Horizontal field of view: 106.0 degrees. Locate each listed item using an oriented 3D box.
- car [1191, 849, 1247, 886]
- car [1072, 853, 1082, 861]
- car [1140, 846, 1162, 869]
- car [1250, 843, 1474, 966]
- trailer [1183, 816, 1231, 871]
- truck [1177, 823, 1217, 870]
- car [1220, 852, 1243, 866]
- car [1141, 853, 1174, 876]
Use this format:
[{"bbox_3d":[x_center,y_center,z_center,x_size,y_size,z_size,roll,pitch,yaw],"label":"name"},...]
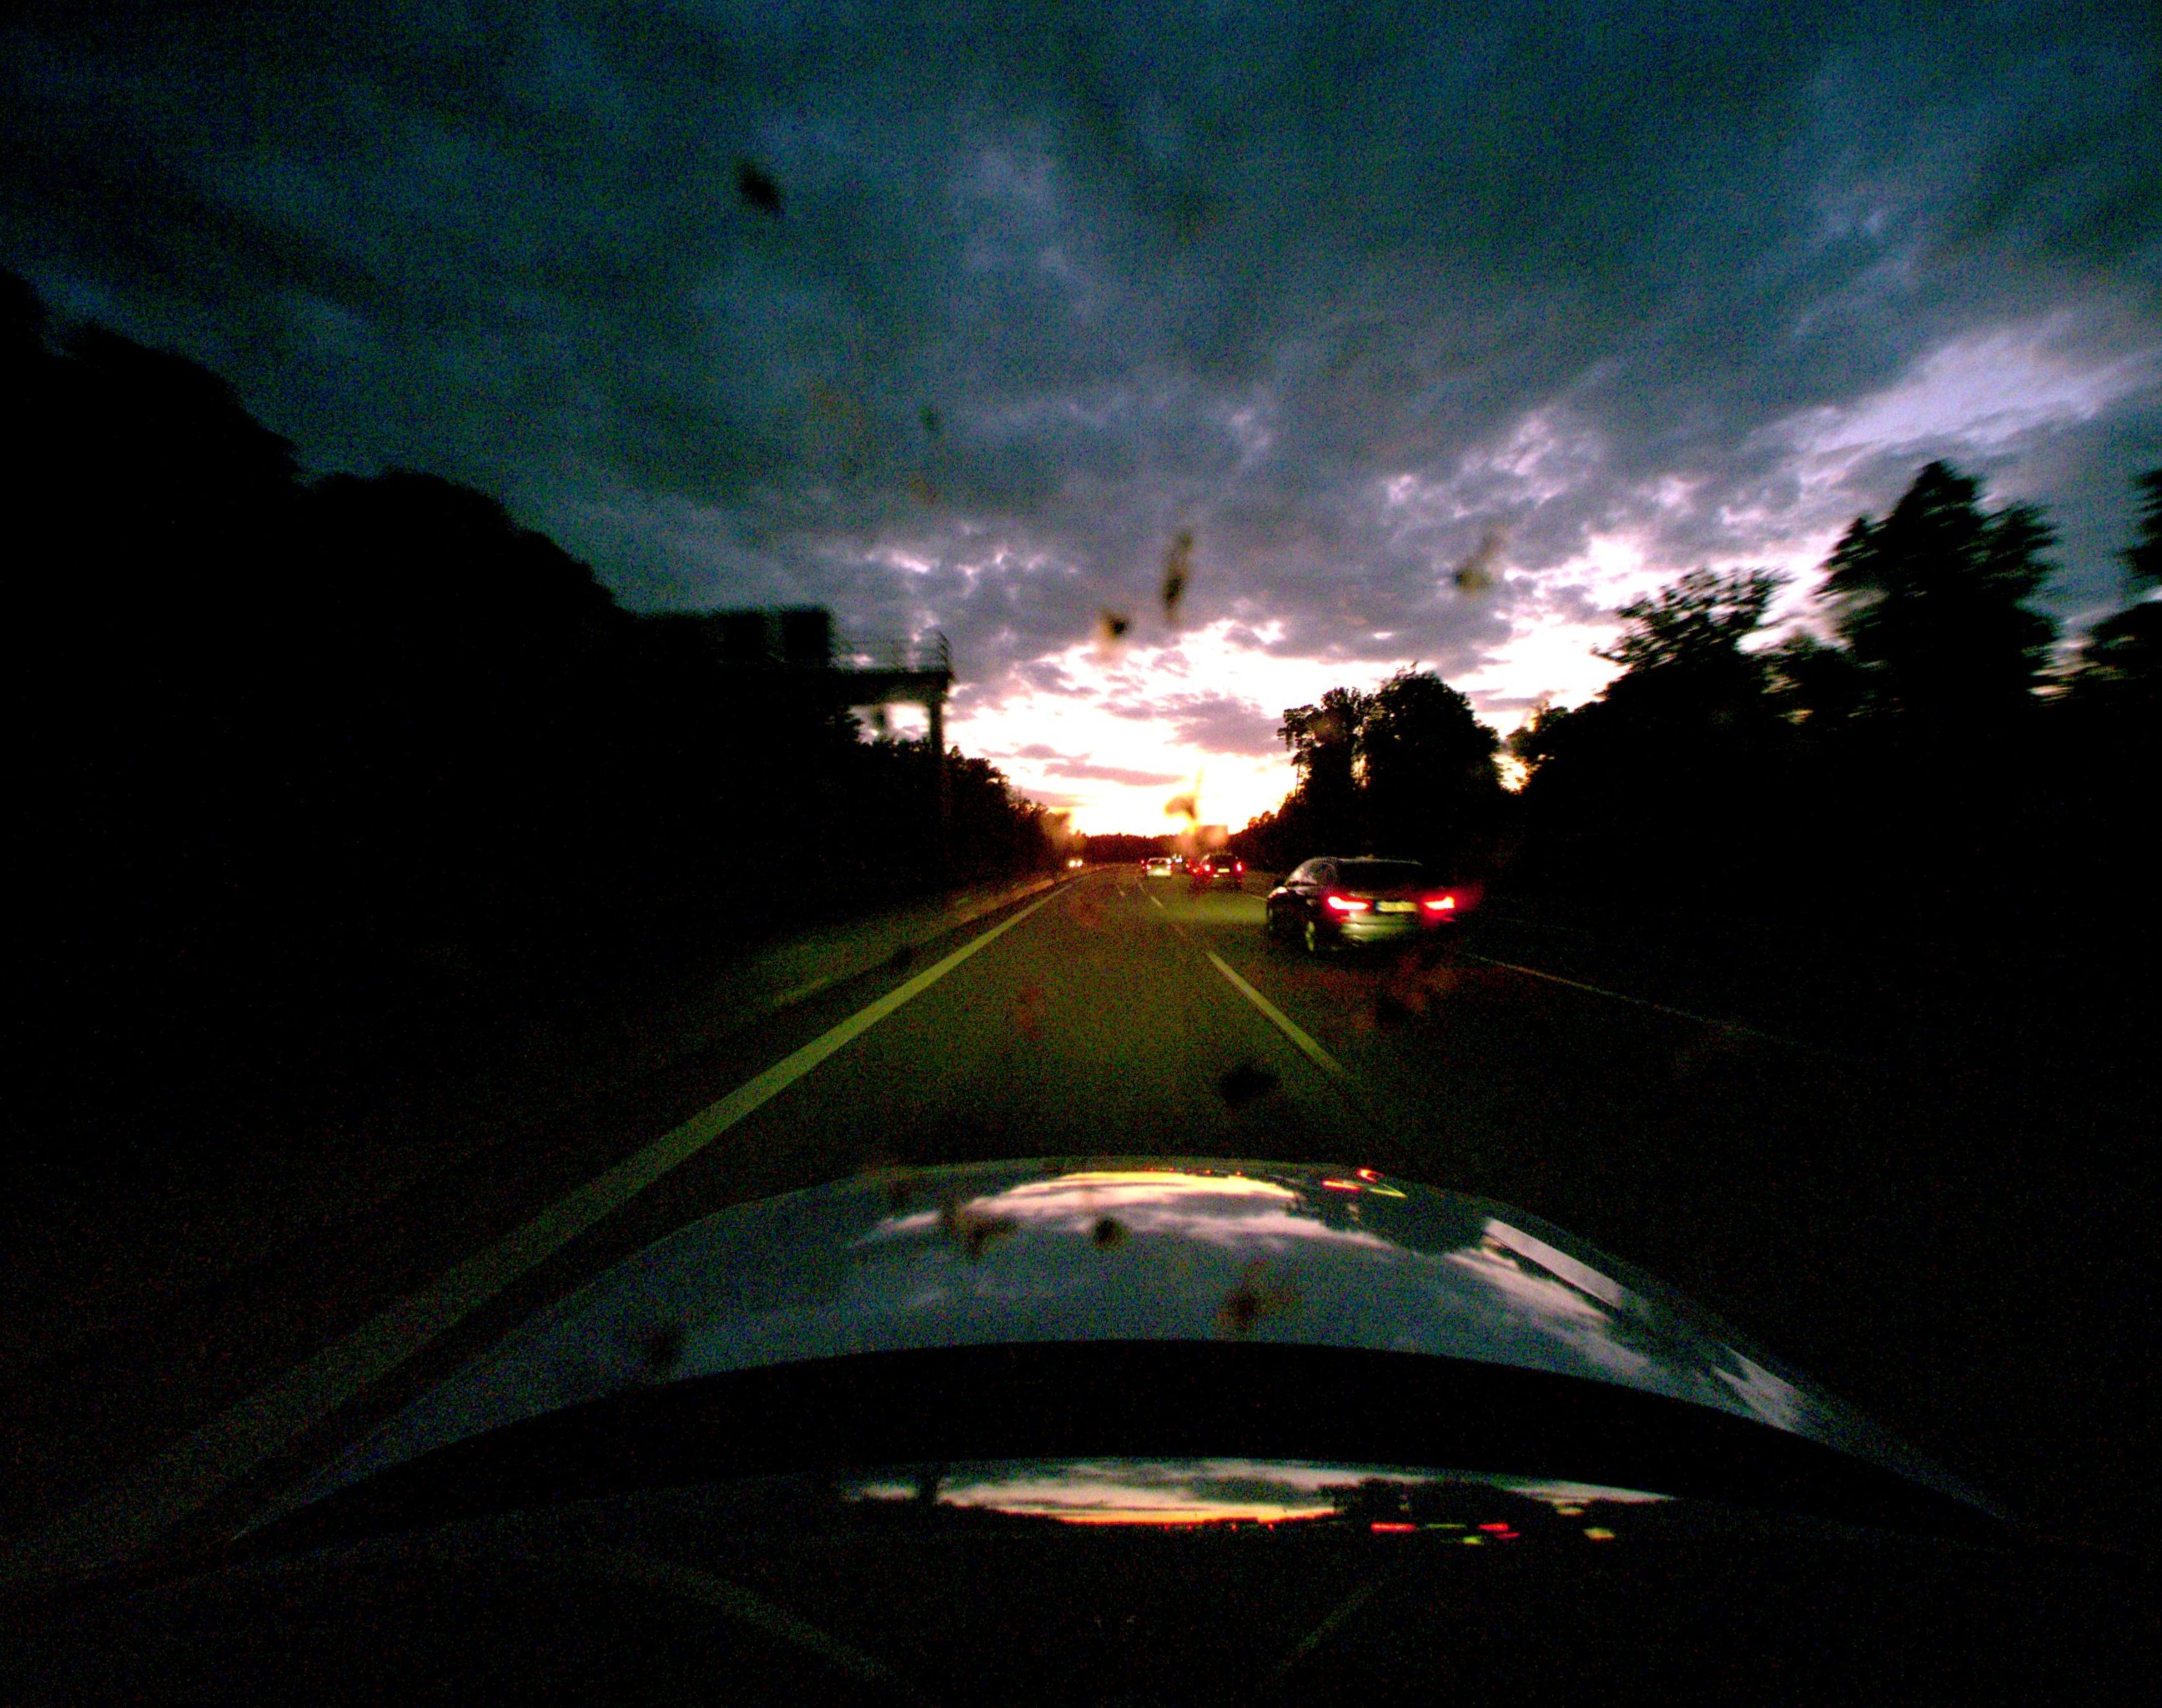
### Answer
[{"bbox_3d":[6.529,0.597,39.053,1.896,1.643,5.052,-1,0,1],"label":"car"},{"bbox_3d":[-0.770,0.605,152.404,1.611,1.405,4.320,-1,0,4],"label":"car"},{"bbox_3d":[7.884,0.395,91.161,2.154,2.419,5.575,-1,-1,7],"label":"car"},{"bbox_3d":[4.198,0.619,13.199,1.902,1.537,5.233,-1,1,1],"label":"car"},{"bbox_3d":[10.152,-0.739,66.628,2.894,4.101,10.366,-1,-1,4],"label":"trailer"},{"bbox_3d":[10.828,-0.591,77.160,2.872,4.101,10.841,-1,-1,4],"label":"truck"},{"bbox_3d":[16.130,0.522,87.418,1.852,1.442,4.114,-1,-1,2],"label":"car"},{"bbox_3d":[5.227,0.694,56.111,1.854,1.442,3.719,-1,1,-1],"label":"car"}]
